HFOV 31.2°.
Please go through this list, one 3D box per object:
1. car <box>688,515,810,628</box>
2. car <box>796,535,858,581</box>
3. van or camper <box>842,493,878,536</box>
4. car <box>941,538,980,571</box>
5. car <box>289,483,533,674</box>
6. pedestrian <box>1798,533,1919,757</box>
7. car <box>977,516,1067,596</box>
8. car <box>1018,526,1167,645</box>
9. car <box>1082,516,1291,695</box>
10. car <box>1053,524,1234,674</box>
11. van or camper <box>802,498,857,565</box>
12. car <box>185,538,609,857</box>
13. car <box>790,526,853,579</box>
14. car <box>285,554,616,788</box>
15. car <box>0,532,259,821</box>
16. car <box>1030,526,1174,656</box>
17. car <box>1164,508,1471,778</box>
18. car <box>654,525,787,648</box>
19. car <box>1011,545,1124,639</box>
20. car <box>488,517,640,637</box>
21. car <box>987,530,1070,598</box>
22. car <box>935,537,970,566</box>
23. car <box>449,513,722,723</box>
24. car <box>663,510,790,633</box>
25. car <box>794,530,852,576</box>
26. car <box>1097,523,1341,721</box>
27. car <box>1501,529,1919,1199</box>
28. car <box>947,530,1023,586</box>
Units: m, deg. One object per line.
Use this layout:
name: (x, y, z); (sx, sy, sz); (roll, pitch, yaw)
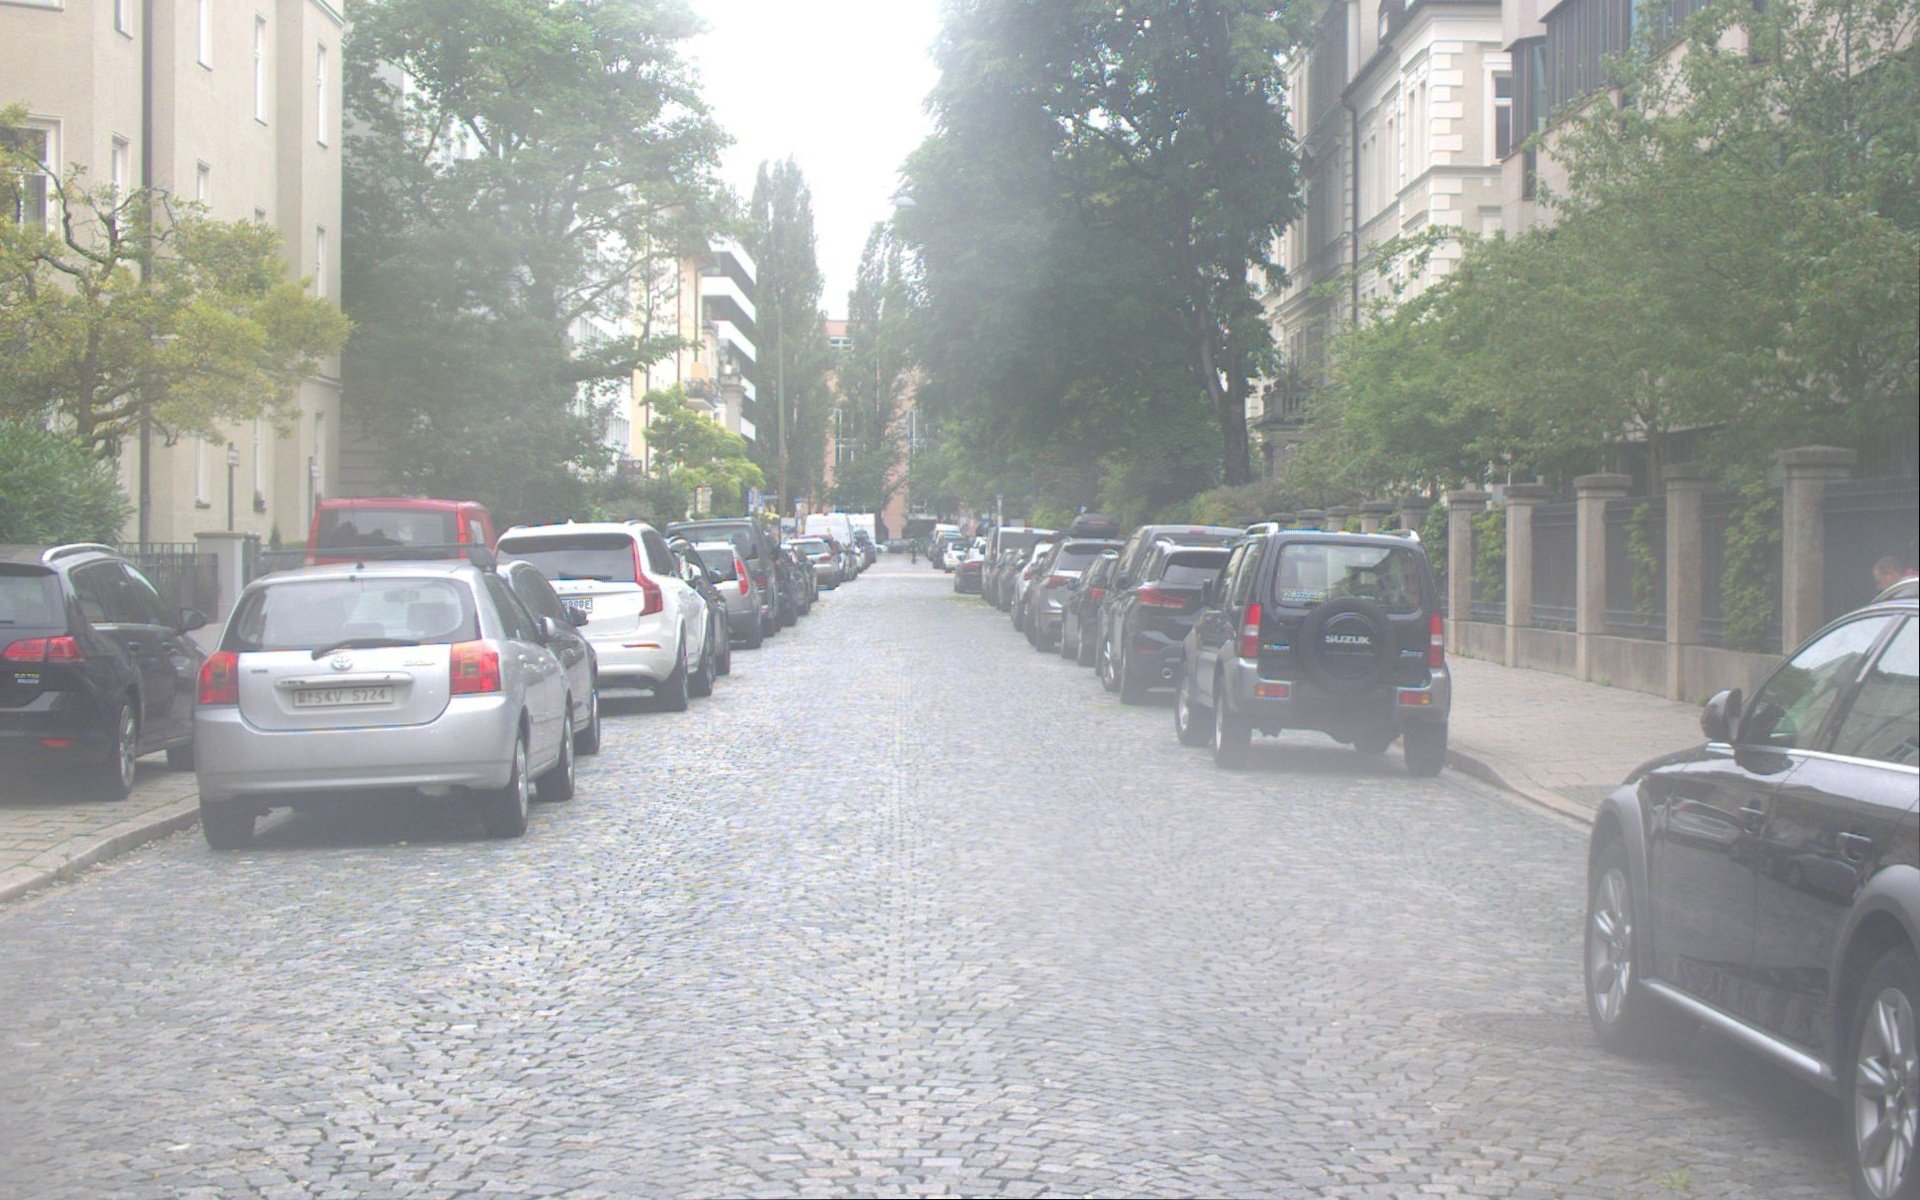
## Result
car: (-3.872, -0.564, 63.825); (1.993, 1.910, 5.178); (-3, 1, -2)
car: (-4.878, -1.552, 126.430); (1.873, 1.574, 4.208); (3, 1, 2)
van or camper: (-6.545, -5.587, 225.929); (2.256, 2.733, 5.098); (1, 1, -1)
car: (0.025, -2.170, 162.329); (1.790, 1.515, 4.000); (1, 1, 0)
car: (-6.023, -0.272, 38.342); (1.994, 1.924, 5.331); (2, 1, -2)
pedestrian: (6.557, 0.286, 23.784); (1.217, 1.488, 1.129); (-2, 1, 2)
car: (1.572, -1.154, 88.687); (1.873, 1.921, 5.165); (3, 1, -3)
car: (2.106, -0.277, 55.977); (1.873, 1.729, 4.748); (4, 1, -3)
car: (2.509, 0.019, 39.135); (1.788, 1.790, 4.510); (4, 1, -2)
car: (2.346, -0.054, 45.112); (1.873, 1.729, 4.659); (4, 1, -2)
van or camper: (-5.350, -2.828, 141.383); (1.993, 2.643, 4.000); (-2, 1, 0)
car: (-3.048, 0.451, 19.446); (1.713, 1.557, 4.391); (-1, 1, -1)
car: (-4.391, -1.512, 108.577); (1.873, 1.574, 4.256); (-2, 1, -3)
car: (-3.428, 0.426, 23.787); (1.729, 1.414, 3.937); (-2, 1, -1)
car: (-5.592, 0.369, 20.905); (1.715, 1.492, 4.722); (2, 1, -1)
car: (2.026, -0.163, 50.159); (1.873, 1.729, 4.892); (2, 1, 0)
car: (2.533, 0.252, 25.214); (1.618, 1.745, 3.888); (3, 1, -2)
car: (-3.623, -0.249, 52.324); (1.865, 1.729, 4.404); (-2, 1, -3)
car: (1.874, -0.169, 61.112); (1.873, 1.485, 4.617); (3, 1, 1)
car: (-6.270, -0.397, 54.892); (1.945, 1.729, 4.658); (3, 1, -2)
car: (1.622, -0.881, 82.978); (1.837, 1.485, 4.422); (3, 1, 0)
car: (-0.404, -2.567, 183.047); (1.790, 1.515, 4.000); (1, 1, 0)
car: (-3.472, 0.115, 32.810); (2.006, 1.802, 5.175); (-1, 1, 0)
car: (-3.846, -0.499, 57.407); (1.873, 1.910, 4.828); (-2, 1, -2)
car: (-4.589, -1.582, 114.659); (1.873, 1.446, 4.208); (-1, 1, -3)
car: (2.451, 0.155, 33.694); (1.860, 1.696, 4.813); (3, 1, -1)
car: (2.892, 0.639, 9.044); (1.993, 1.546, 5.015); (3, 1, -1)
car: (0.713, -1.237, 100.666); (1.873, 1.498, 4.512); (3, 1, -3)
